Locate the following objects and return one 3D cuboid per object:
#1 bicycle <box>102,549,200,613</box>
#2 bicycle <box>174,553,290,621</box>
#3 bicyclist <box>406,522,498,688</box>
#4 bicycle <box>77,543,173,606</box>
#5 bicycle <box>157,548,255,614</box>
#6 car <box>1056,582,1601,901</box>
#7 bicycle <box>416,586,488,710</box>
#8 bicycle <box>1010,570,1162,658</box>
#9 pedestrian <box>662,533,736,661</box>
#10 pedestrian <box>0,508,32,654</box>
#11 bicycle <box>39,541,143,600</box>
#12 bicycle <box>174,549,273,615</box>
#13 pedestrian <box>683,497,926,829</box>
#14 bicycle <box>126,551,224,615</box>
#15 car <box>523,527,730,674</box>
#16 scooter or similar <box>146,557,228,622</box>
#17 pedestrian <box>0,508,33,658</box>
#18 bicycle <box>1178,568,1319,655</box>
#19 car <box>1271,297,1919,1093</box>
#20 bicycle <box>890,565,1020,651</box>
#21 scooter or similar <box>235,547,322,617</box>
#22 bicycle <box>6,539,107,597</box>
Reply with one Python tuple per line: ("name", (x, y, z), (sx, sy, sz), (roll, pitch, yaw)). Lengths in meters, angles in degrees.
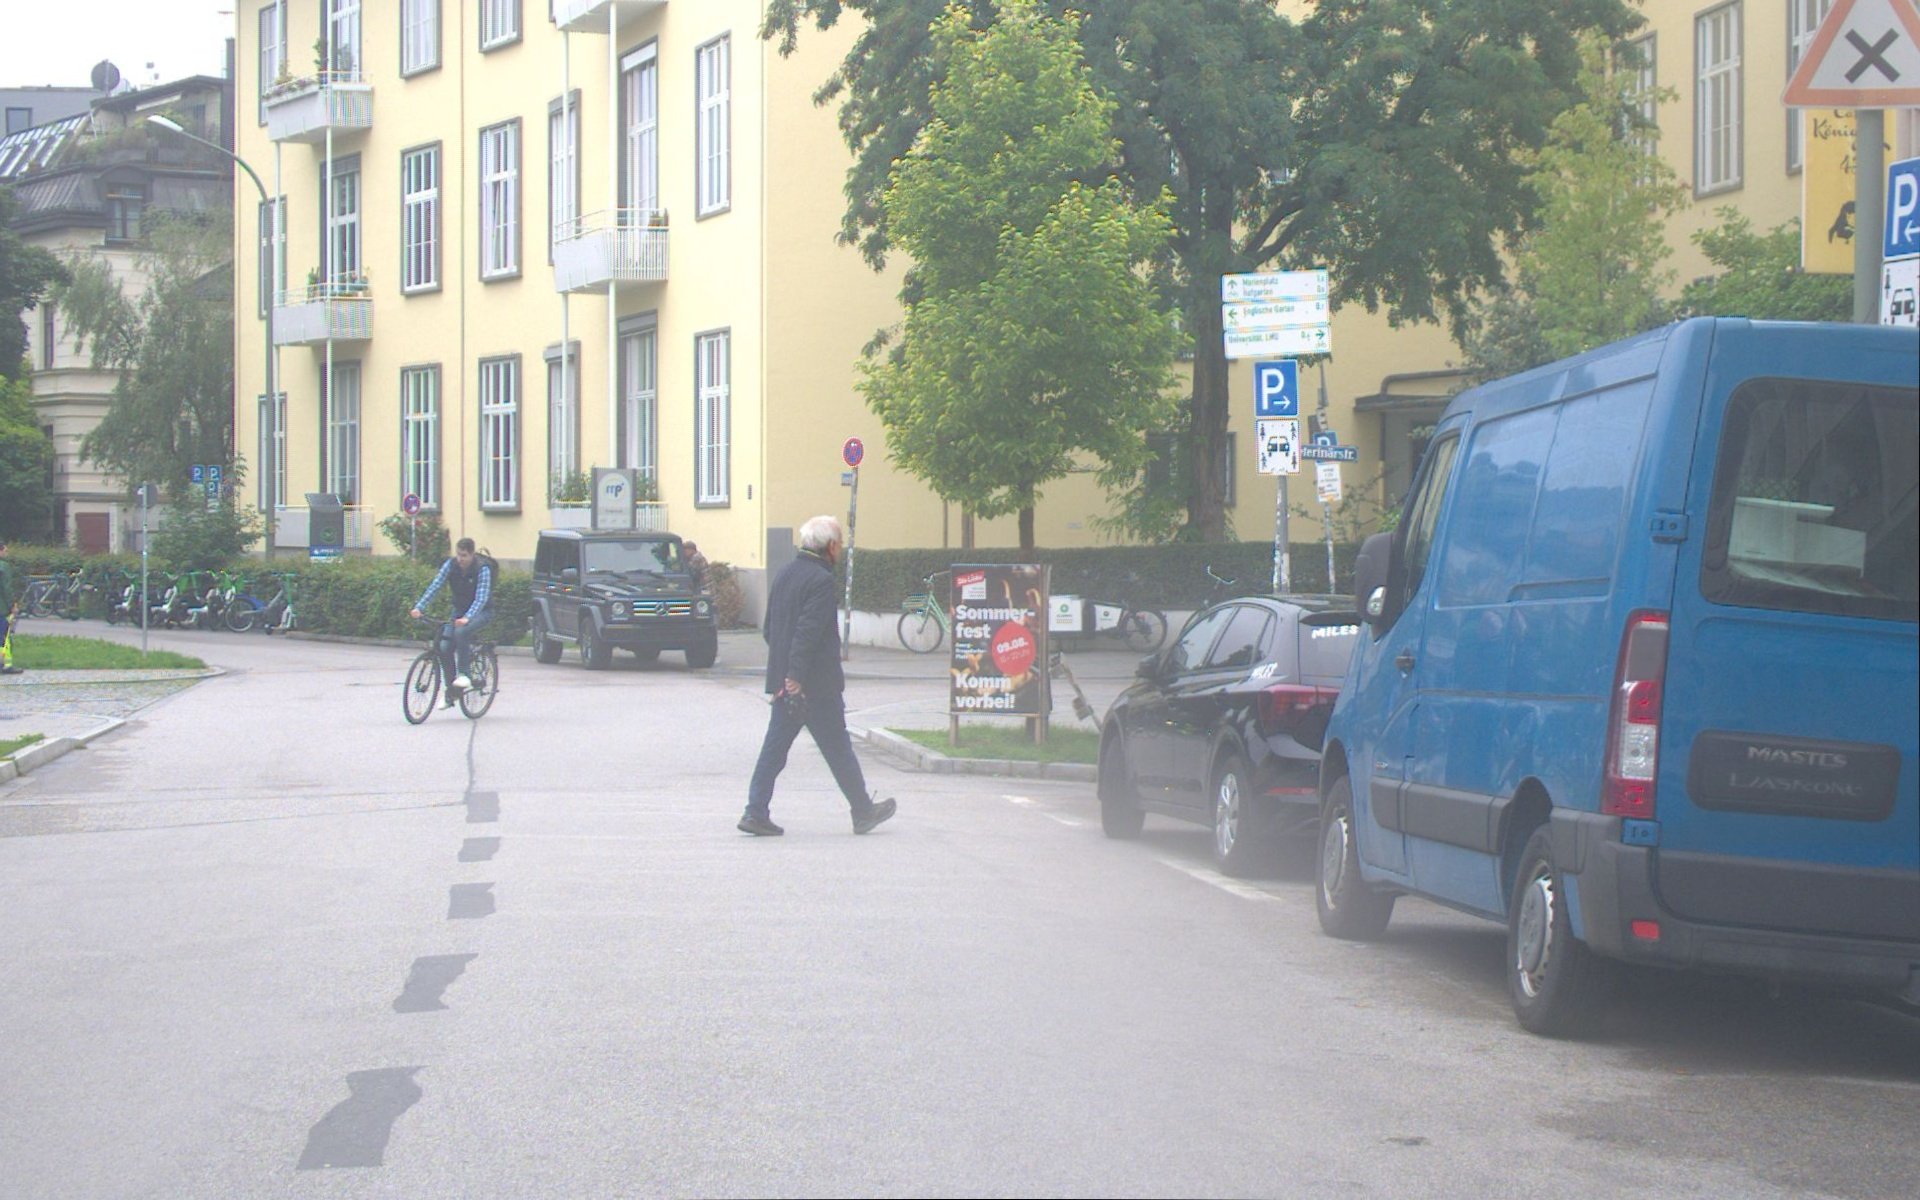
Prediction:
("bicycle", (-16.752, -0.402, 71.242), (0.733, 1.301, 2.153), (1, 1, 28))
("bicycle", (-14.169, -0.264, 66.918), (2.150, 1.301, 0.734), (-1, 1, -45))
("bicyclist", (-4.971, 0.045, 33.648), (0.863, 1.602, 0.947), (0, 0, -8))
("bicycle", (-17.685, -0.551, 72.884), (0.733, 1.301, 2.153), (1, 1, 28))
("bicycle", (-15.286, -0.400, 69.765), (0.733, 1.301, 2.153), (1, 1, 28))
("car", (1.851, 0.681, 18.733), (1.676, 1.384, 4.307), (4, 0, -11))
("bicycle", (-4.956, 0.451, 33.533), (0.670, 1.155, 2.004), (0, 0, -8))
("bicycle", (1.791, 0.192, 48.914), (2.069, 1.197, 0.595), (1, 1, 15))
("pedestrian", (-3.759, -0.047, 49.499), (0.874, 1.817, 0.799), (0, 1, -19))
("pedestrian", (-13.532, -0.274, 48.007), (0.931, 2.007, 0.957), (0, 1, -3))
("bicycle", (-19.390, -0.651, 76.695), (2.148, 1.301, 0.735), (0, 1, -25))
("bicycle", (-14.767, -0.372, 68.968), (0.733, 1.301, 2.153), (1, 1, 28))
("pedestrian", (-0.872, 0.349, 19.275), (0.954, 1.794, 0.934), (0, -1, -45))
("bicycle", (-16.122, -0.359, 70.622), (0.733, 1.301, 2.153), (1, 1, 28))
("car", (-4.834, -0.025, 49.318), (1.762, 1.868, 4.380), (4, 0, -21))
("scooter or similar", (-15.751, -0.229, 70.095), (0.733, 1.301, 1.728), (1, 1, 25))
("pedestrian", (-13.085, -0.237, 46.395), (0.931, 2.007, 0.957), (0, 1, -3))
("bicycle", (4.094, 0.162, 48.827), (1.921, 1.197, 0.595), (1, 1, -3))
("car", (2.707, 0.292, 12.551), (2.078, 2.226, 5.246), (4, 0, -5))
("bicycle", (-0.079, 0.106, 50.148), (1.926, 1.197, 0.594), (2, 1, 38))
("scooter or similar", (-13.099, -0.357, 66.131), (0.732, 1.301, 2.154), (1, 1, 16))
("bicycle", (-20.616, -0.734, 78.454), (2.148, 1.301, 0.735), (0, 1, -25))
